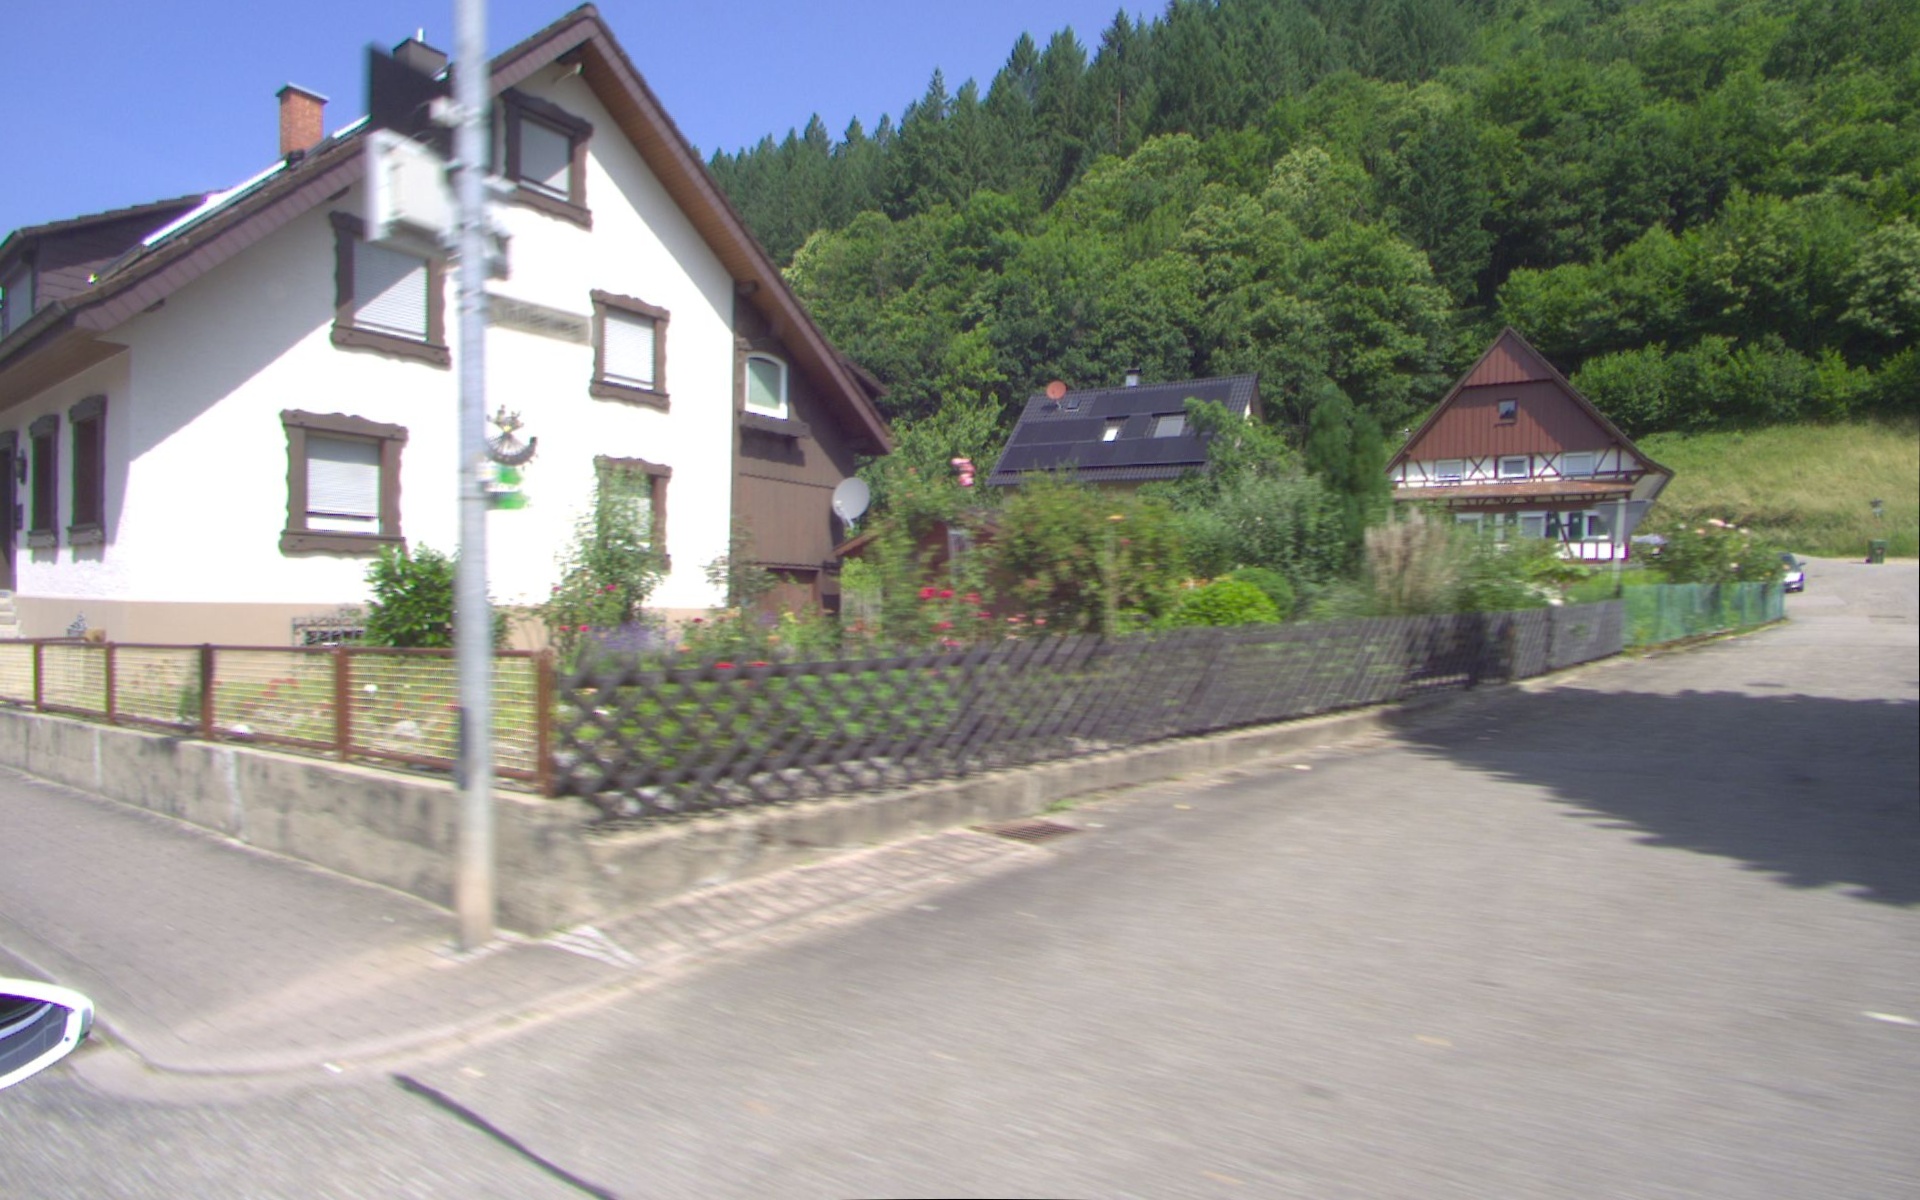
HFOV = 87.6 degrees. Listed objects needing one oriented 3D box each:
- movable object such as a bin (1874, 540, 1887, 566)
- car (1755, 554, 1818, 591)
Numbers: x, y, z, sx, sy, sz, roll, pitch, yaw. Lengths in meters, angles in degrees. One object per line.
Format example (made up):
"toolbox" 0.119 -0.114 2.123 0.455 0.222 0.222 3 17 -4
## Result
"movable object such as a bin" 41.588 -2.135 45.244 0.391 1.145 0.305 -1 -1 39
"car" 32.705 -1.067 39.600 1.863 1.342 3.967 0 1 41
